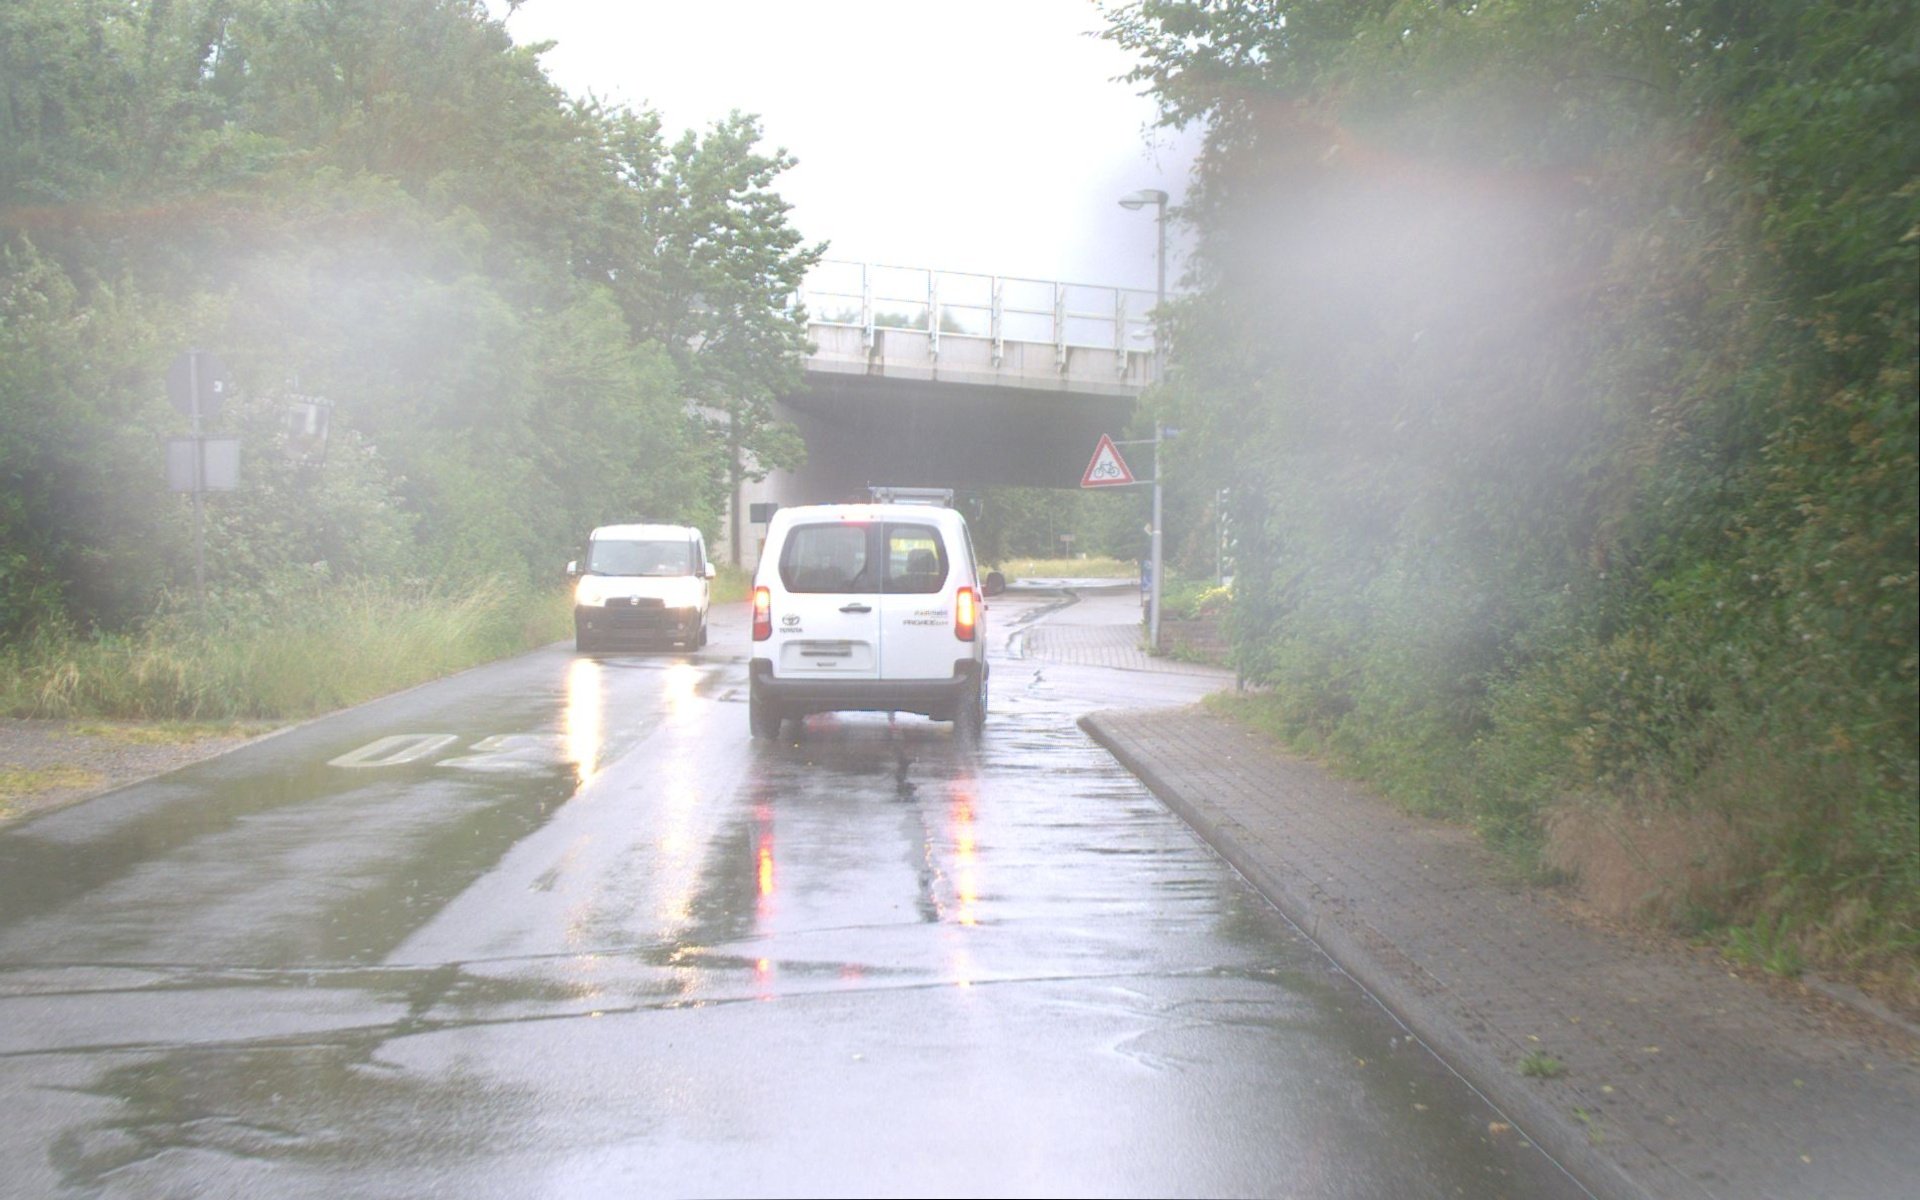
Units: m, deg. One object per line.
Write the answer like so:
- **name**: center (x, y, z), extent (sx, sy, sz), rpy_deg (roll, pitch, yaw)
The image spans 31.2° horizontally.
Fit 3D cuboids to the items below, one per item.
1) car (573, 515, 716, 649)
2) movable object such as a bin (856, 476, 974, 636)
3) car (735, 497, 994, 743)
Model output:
- **car**: center (-4.503, -0.278, 49.544), extent (1.823, 1.825, 4.308), rpy_deg (1, 1, -2)
- **movable object such as a bin**: center (-0.713, -0.744, 57.450), extent (1.761, 2.539, 4.239), rpy_deg (1, 1, 2)
- **car**: center (-0.722, 0.089, 27.494), extent (1.896, 1.800, 4.000), rpy_deg (-1, 2, 0)
